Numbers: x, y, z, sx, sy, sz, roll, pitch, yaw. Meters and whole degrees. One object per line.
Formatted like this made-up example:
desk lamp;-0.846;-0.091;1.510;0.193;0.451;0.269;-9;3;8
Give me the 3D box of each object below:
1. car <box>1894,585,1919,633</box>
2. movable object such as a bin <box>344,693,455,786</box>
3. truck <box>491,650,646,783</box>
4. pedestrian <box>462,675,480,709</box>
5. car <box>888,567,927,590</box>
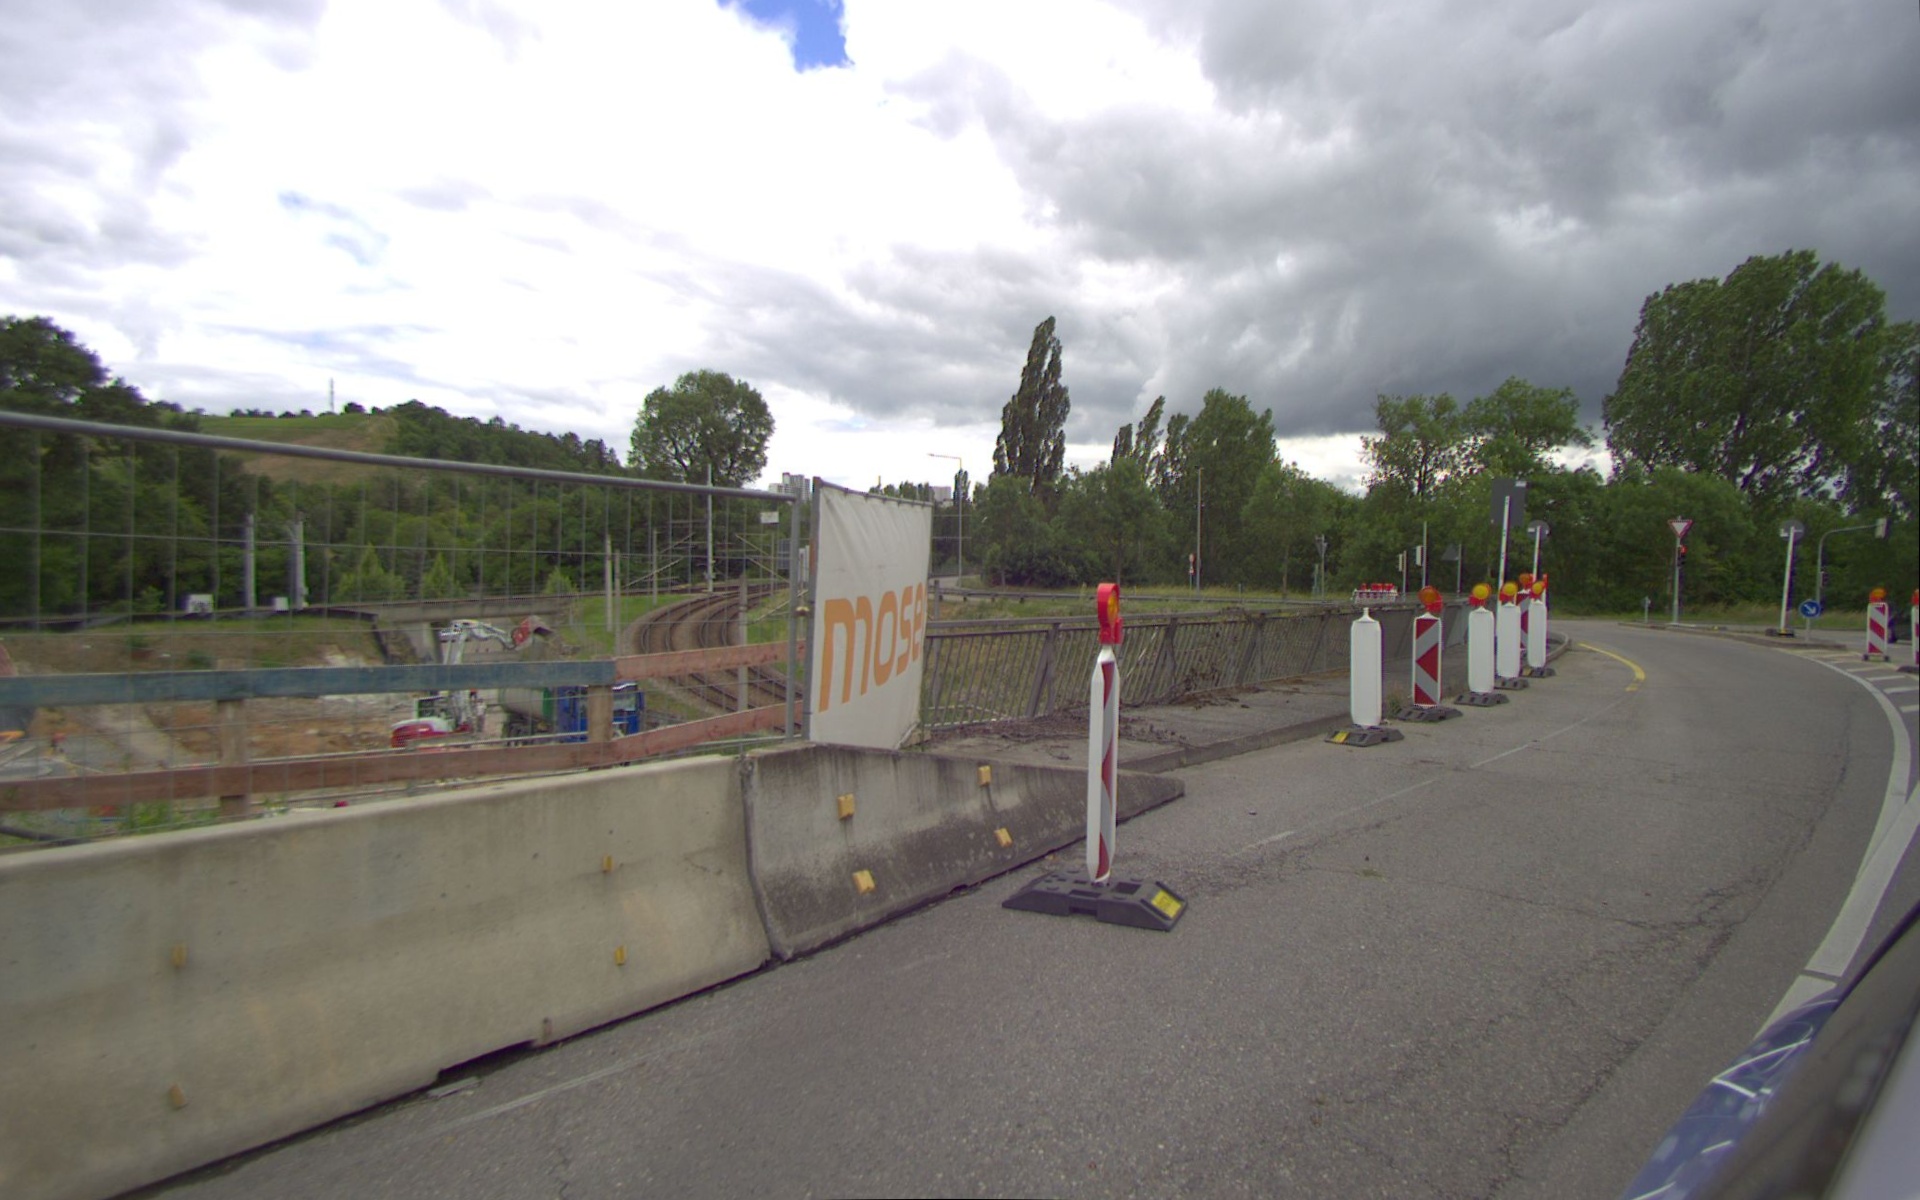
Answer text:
car;32.646;0.353;33.307;1.627;1.571;3.756;4;2;25
movable object such as a bin;-20.932;5.133;38.035;2.983;2.784;4.296;0;0;-20
truck;-16.131;4.340;40.948;2.794;3.942;11.615;-1;1;-37
pedestrian;-30.052;5.646;62.204;0.810;2.040;0.682;1;-3;-39
car;-4.548;-1.836;87.145;2.039;1.782;4.330;3;-2;-22
